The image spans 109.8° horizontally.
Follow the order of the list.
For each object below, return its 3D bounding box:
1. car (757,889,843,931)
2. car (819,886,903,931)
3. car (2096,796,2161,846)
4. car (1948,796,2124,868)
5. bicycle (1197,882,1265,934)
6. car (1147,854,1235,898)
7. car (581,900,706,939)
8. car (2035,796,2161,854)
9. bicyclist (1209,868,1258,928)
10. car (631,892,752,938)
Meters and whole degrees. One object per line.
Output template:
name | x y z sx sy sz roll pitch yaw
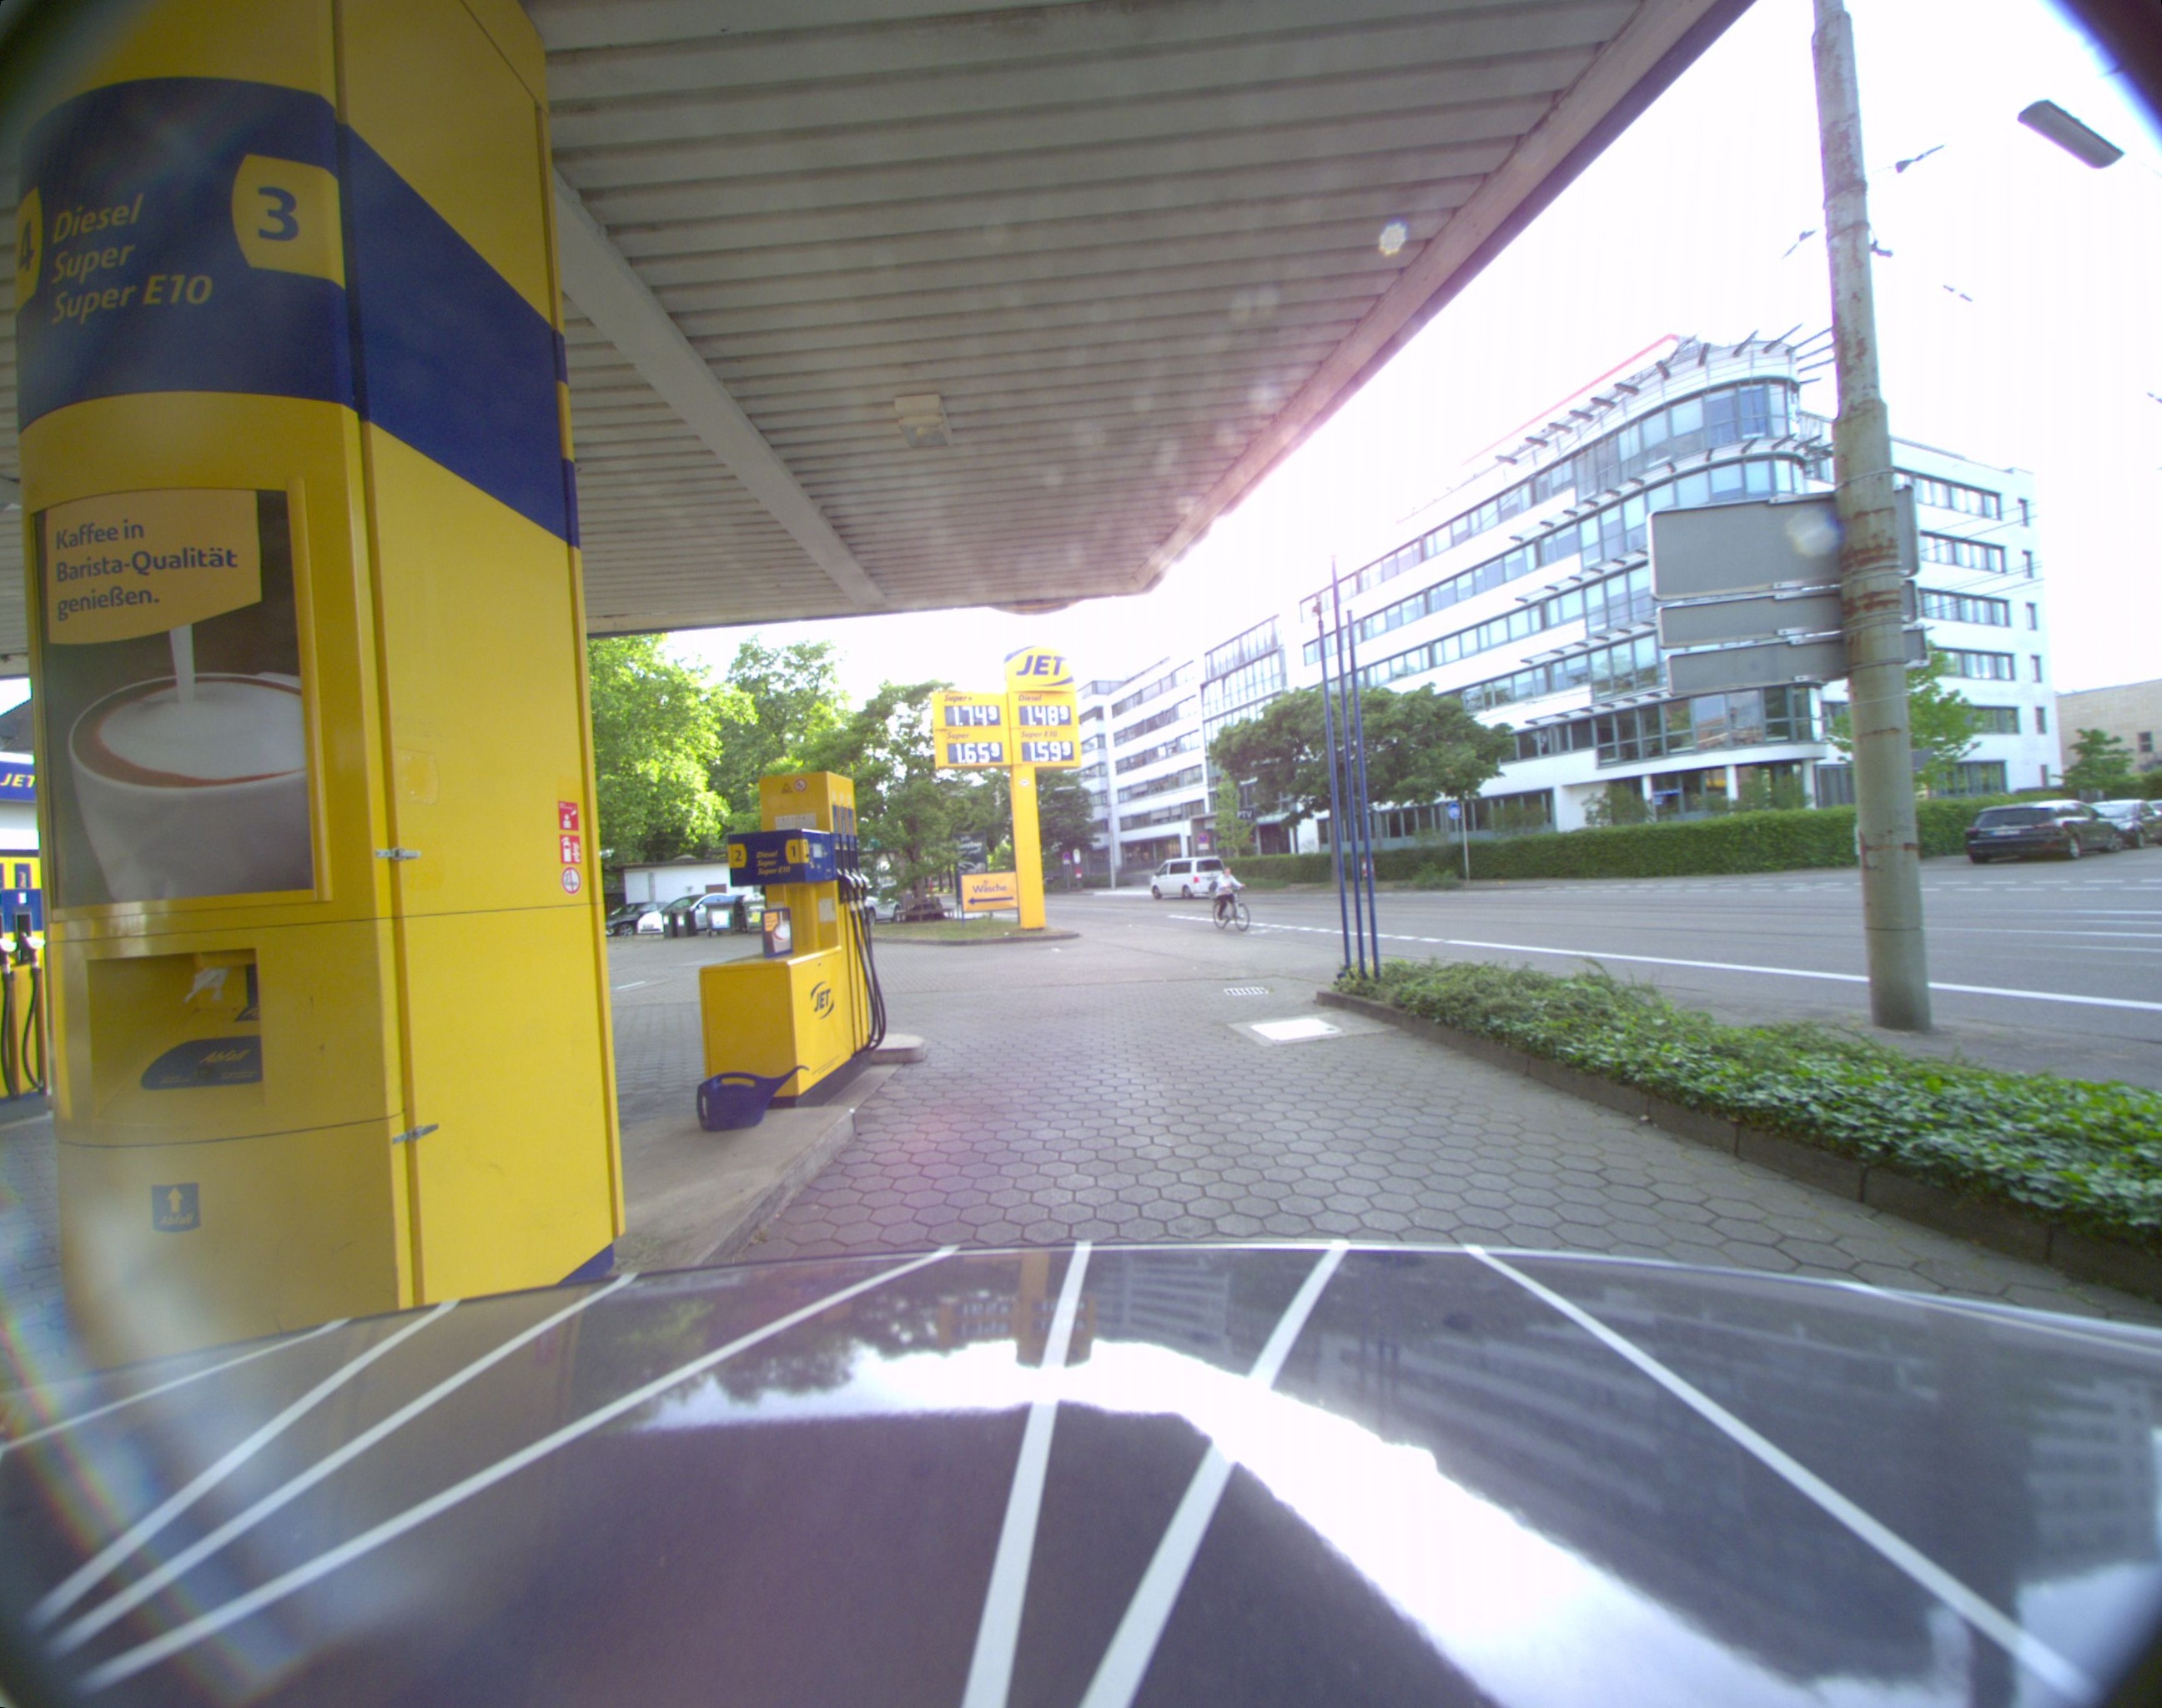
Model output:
car | -11.809 2.326 32.245 1.739 1.500 4.004 -4 -2 6
car | -8.694 2.119 30.383 1.739 1.500 4.003 -4 -2 6
car | 37.144 -1.224 26.081 4.109 1.544 1.786 -4 -1 -23
car | 27.369 -0.640 21.772 4.438 1.603 1.976 -5 -1 -23
bicycle | 3.915 1.394 19.992 0.736 1.250 1.936 -6 0 -21
car | 5.414 1.124 38.154 2.002 1.956 4.882 -3 -1 -23
car | -17.753 2.633 31.073 1.745 1.269 4.230 -5 -3 19
car | 32.484 -0.931 24.043 4.109 1.544 1.786 -4 -1 -23
bicyclist | 3.965 1.143 19.832 0.736 1.451 0.915 -6 0 -21
car | -15.368 2.385 30.257 1.785 1.514 4.229 -4 -3 17
